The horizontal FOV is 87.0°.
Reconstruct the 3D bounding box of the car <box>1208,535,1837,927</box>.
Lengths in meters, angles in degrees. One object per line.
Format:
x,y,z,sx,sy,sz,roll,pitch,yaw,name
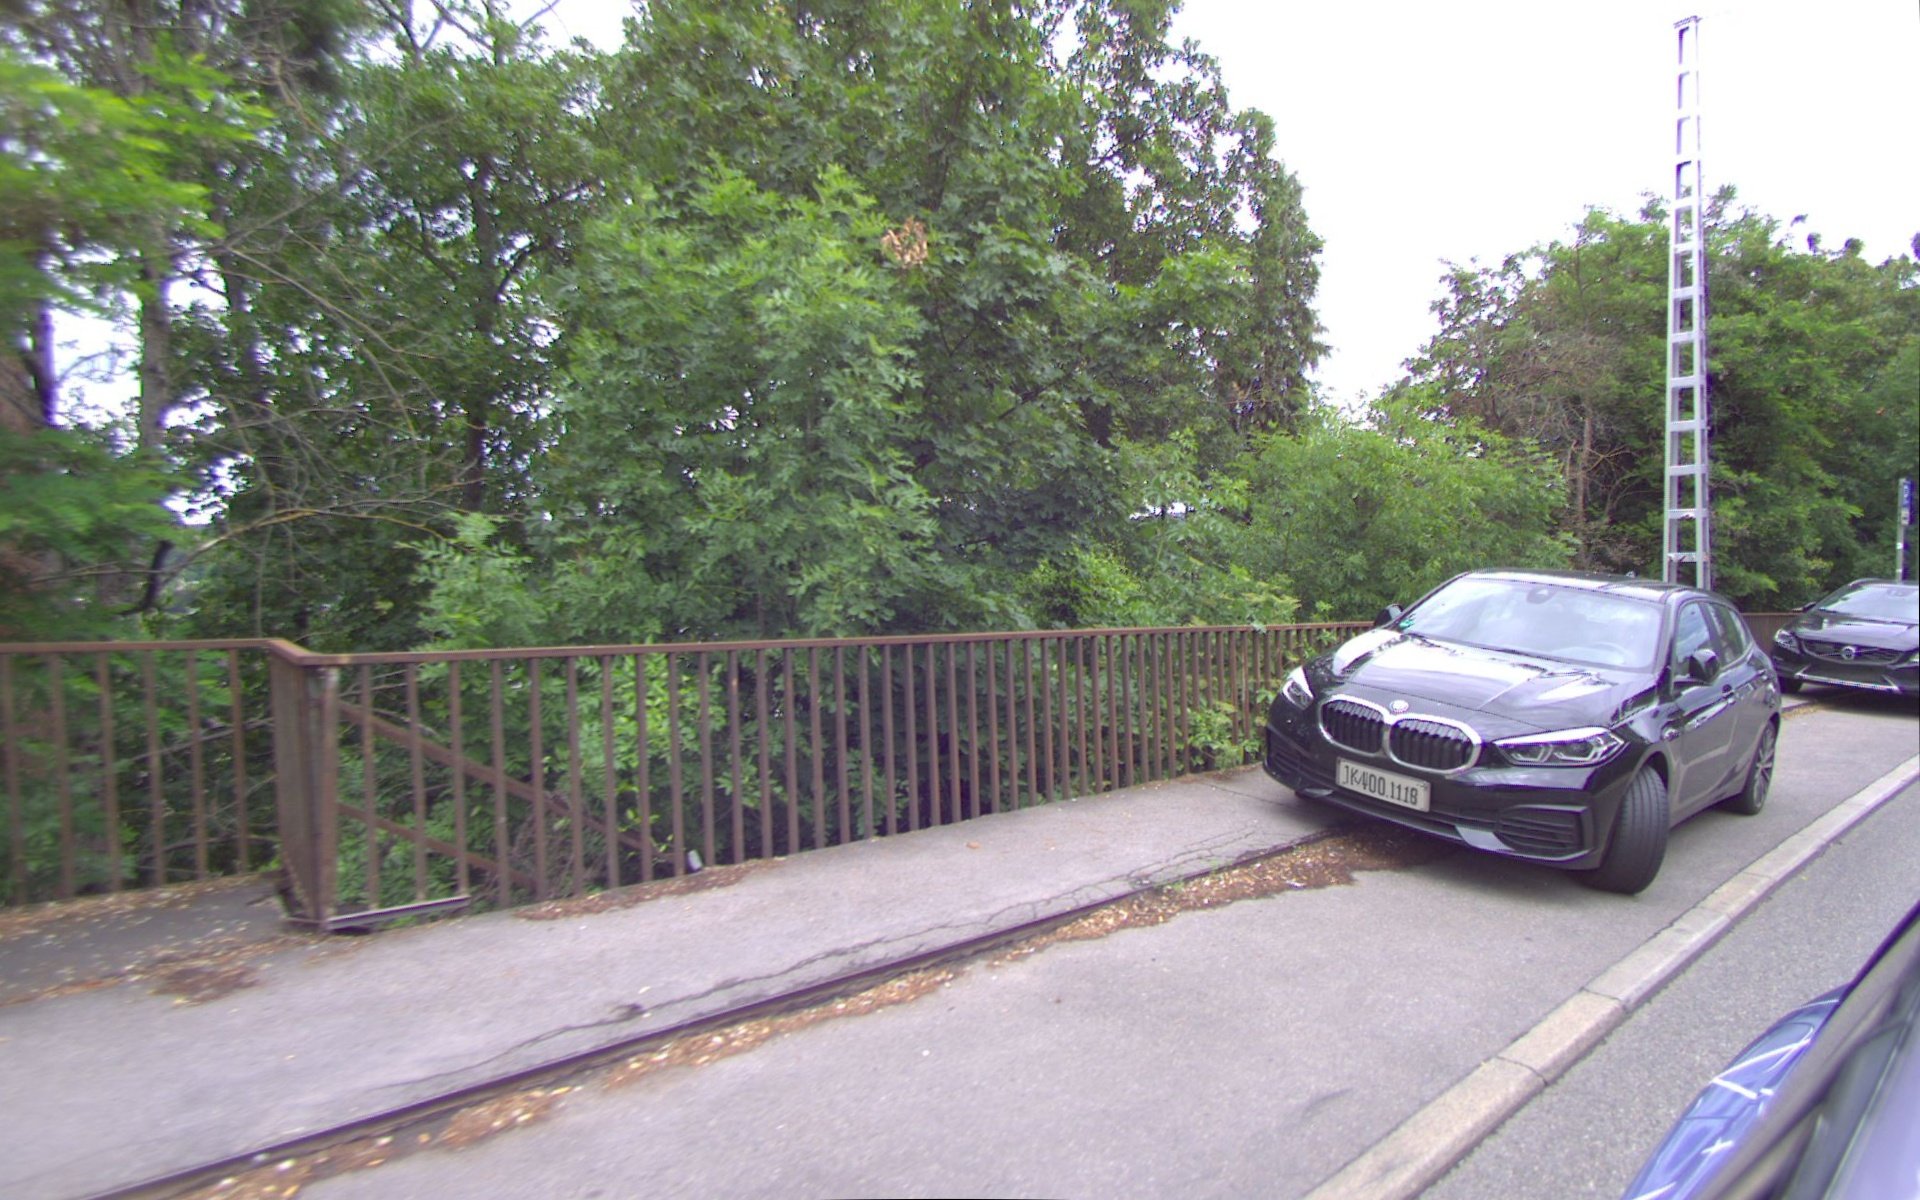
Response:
3.555,0.473,6.066,4.158,1.452,1.859,0,6,-41,car

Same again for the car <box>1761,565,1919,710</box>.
12.140,0.409,12.845,4.151,1.552,1.861,0,4,-34,car
